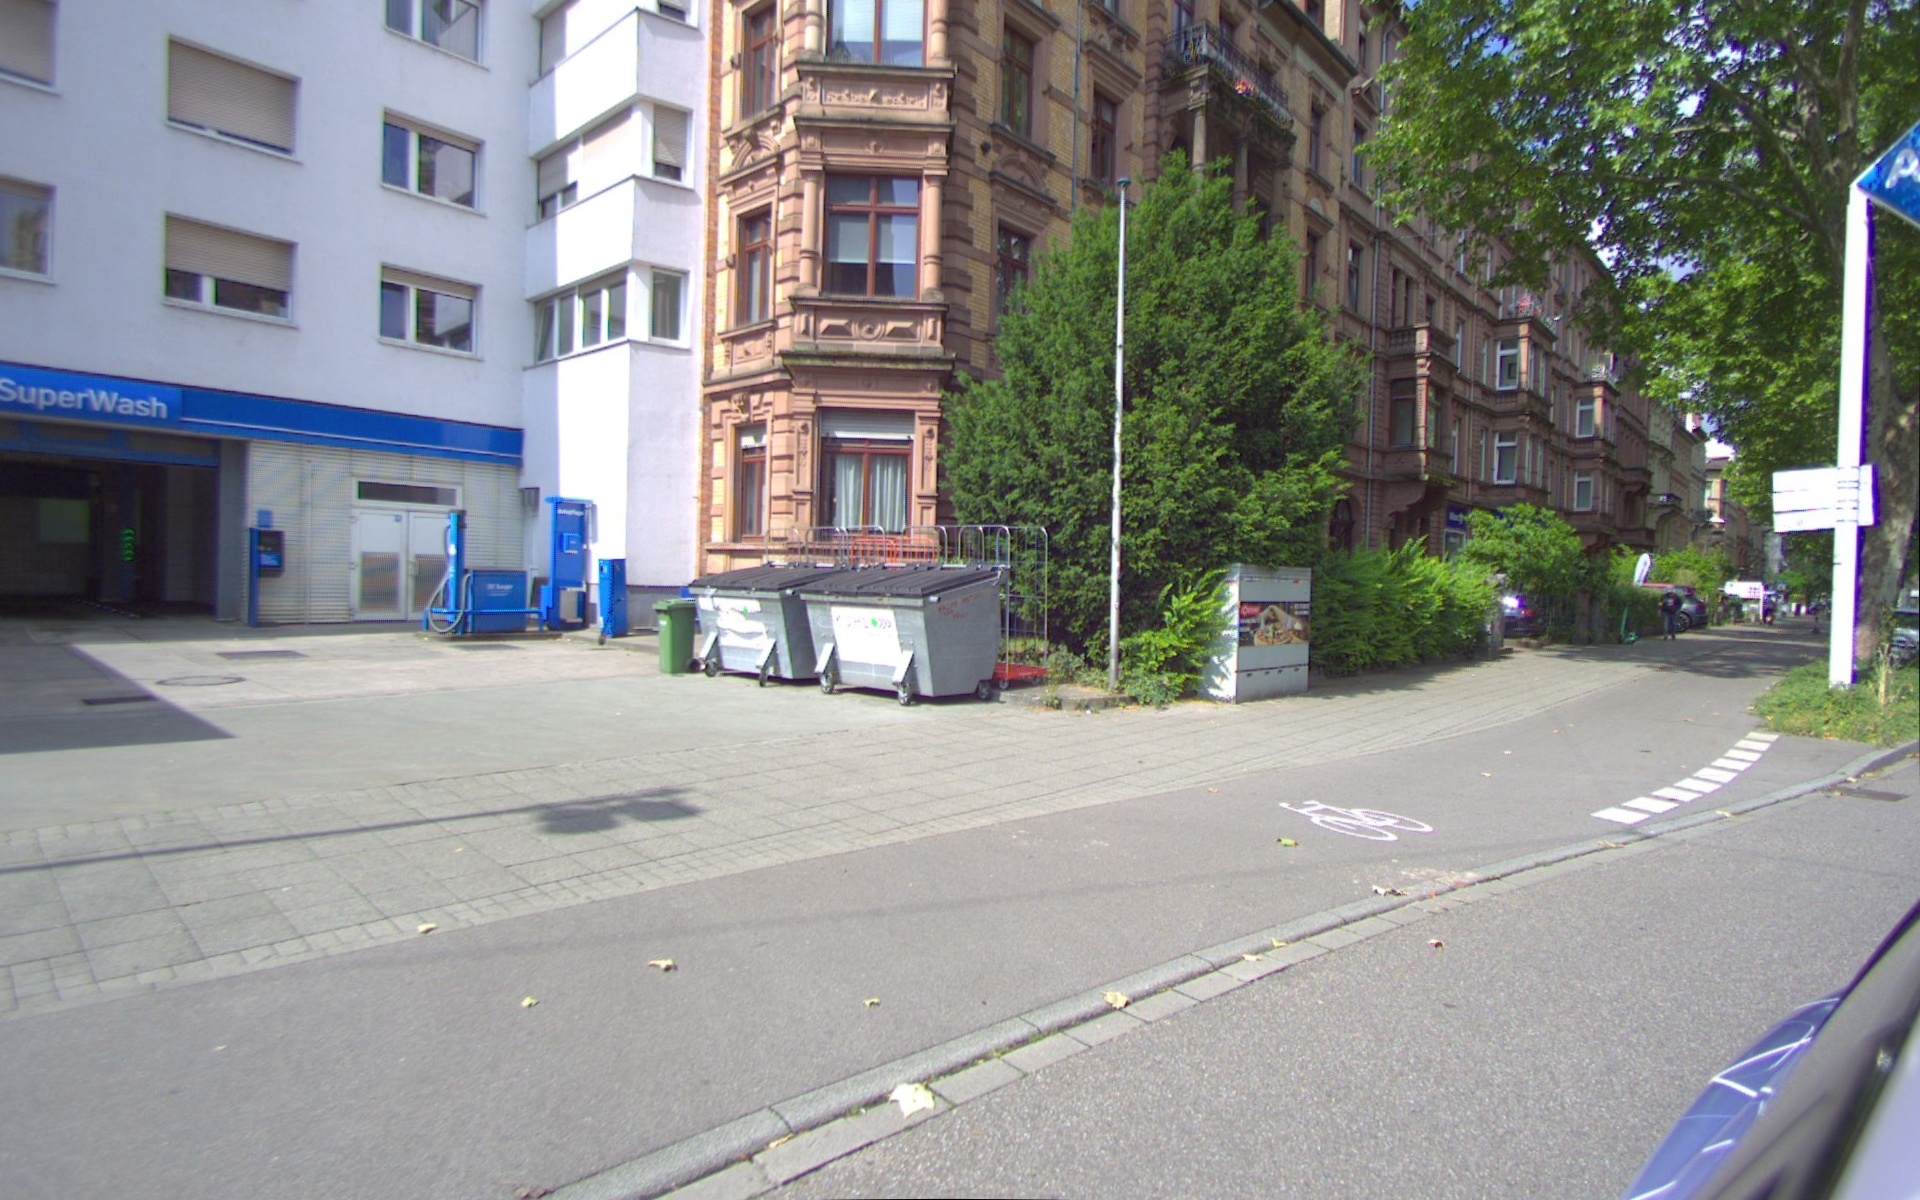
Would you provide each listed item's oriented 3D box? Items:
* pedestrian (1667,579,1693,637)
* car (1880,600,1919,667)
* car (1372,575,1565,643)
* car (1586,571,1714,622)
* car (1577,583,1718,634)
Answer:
[{"bbox_3d":[22.995,0.258,32.314,0.564,1.808,0.620,2,1,43],"label":"pedestrian"},{"bbox_3d":[23.297,0.797,24.419,1.553,1.503,3.799,4,2,42],"label":"car"},{"bbox_3d":[13.610,0.178,27.224,4.236,1.487,1.911,5,3,43],"label":"car"},{"bbox_3d":[31.966,-0.173,46.982,1.948,1.962,4.409,2,4,-40],"label":"car"},{"bbox_3d":[28.632,0.309,42.265,4.708,1.804,1.980,4,2,36],"label":"car"}]
